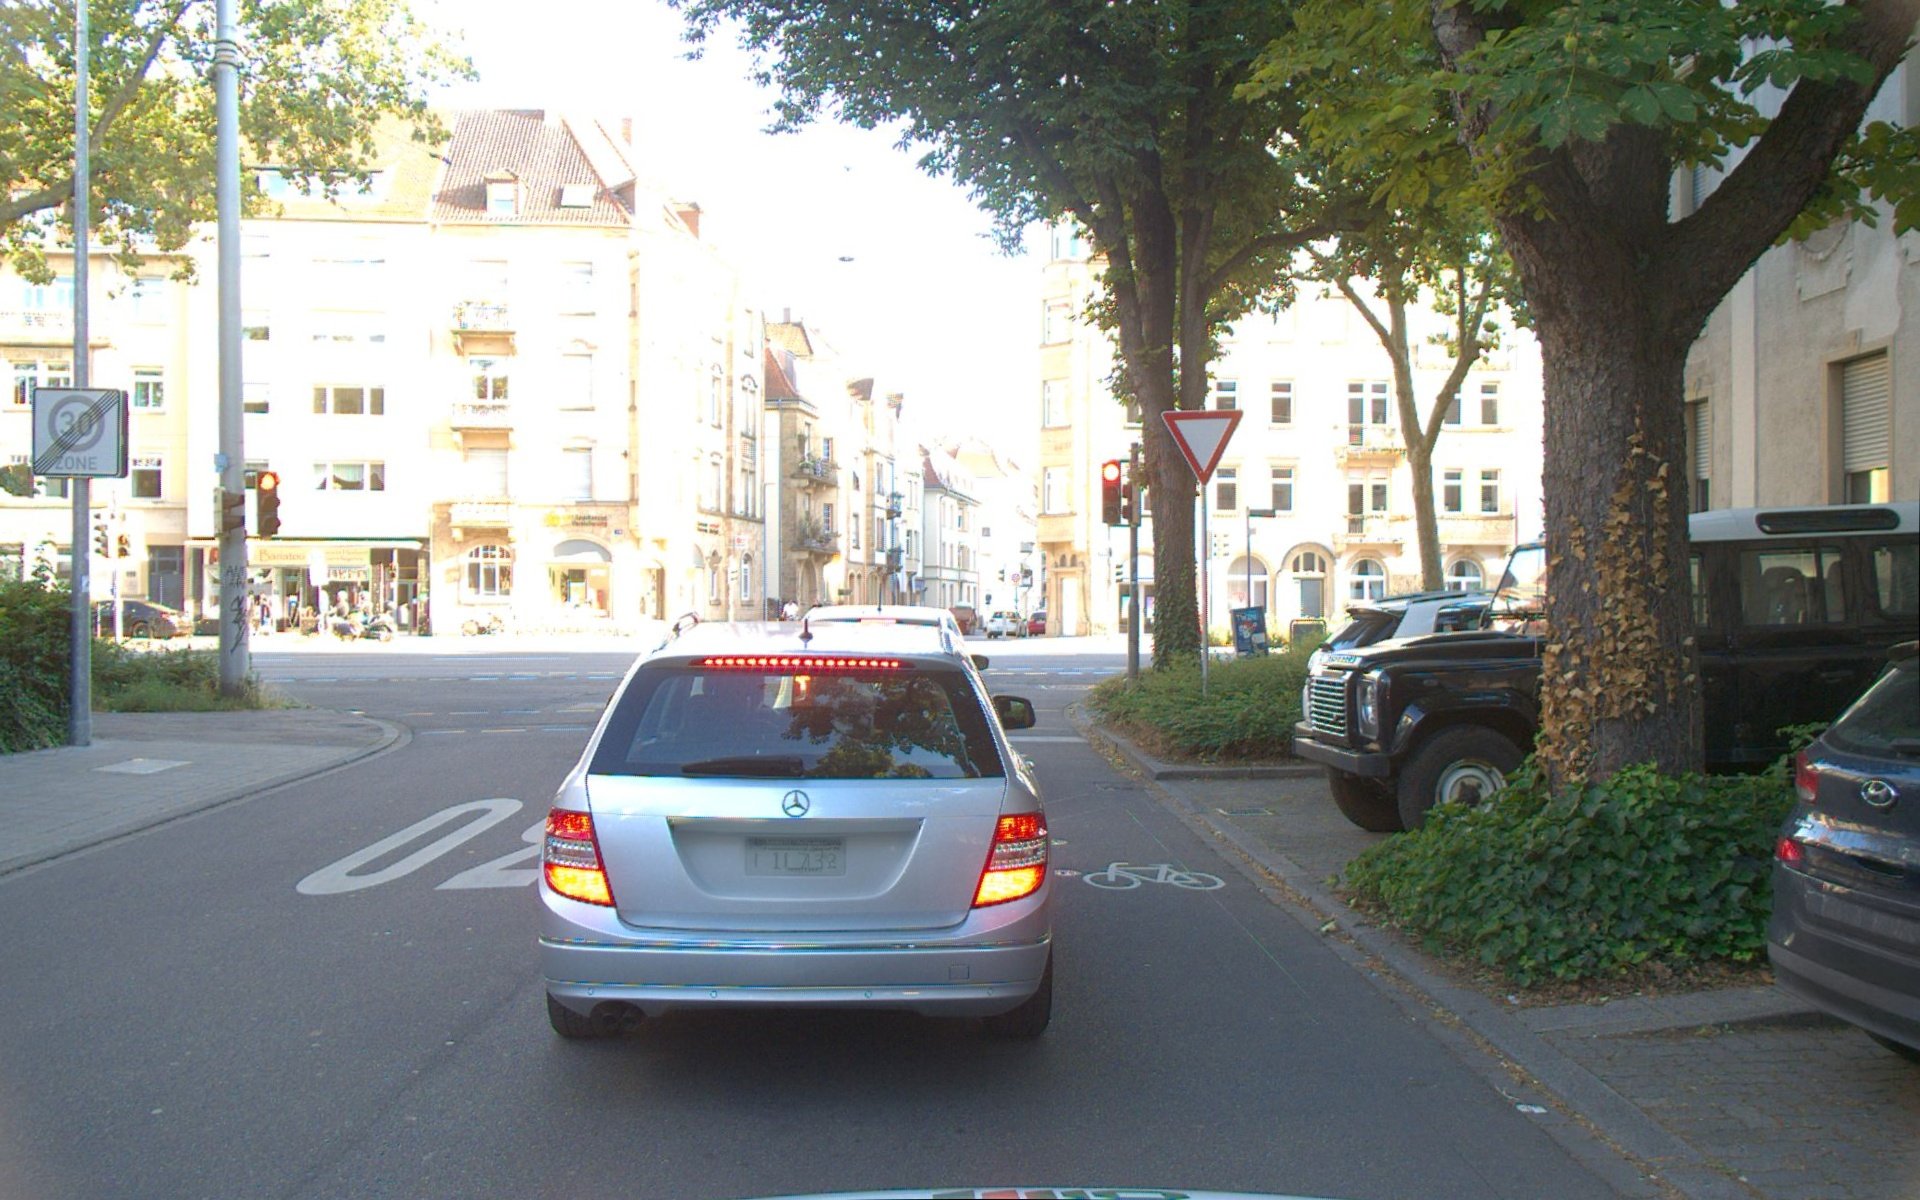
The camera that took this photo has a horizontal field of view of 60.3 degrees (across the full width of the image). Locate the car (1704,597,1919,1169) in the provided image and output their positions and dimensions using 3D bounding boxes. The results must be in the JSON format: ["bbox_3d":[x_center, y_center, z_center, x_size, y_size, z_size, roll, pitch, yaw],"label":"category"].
[{"bbox_3d":[4.282,0.698,4.600,3.650,1.477,1.707,-1,0,-4],"label":"car"}]

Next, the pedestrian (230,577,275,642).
[{"bbox_3d":[-27.721,0.369,64.848,1.320,2.507,1.059,0,0,-5],"label":"pedestrian"}]

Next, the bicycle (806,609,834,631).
[{"bbox_3d":[-6.207,0.879,73.362,0.754,0.950,1.942,1,0,10],"label":"bicycle"}]

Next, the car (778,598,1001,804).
[{"bbox_3d":[-0.593,0.727,14.027,1.587,1.472,4.342,1,0,-2],"label":"car"}]

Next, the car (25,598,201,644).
[{"bbox_3d":[-27.776,0.663,54.350,4.788,1.477,1.857,0,0,-5],"label":"car"}]

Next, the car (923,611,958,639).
[{"bbox_3d":[-1.265,1.623,108.713,1.796,1.692,4.003,0,1,7],"label":"car"}]

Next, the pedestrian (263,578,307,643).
[{"bbox_3d":[-26.259,0.395,64.345,1.320,2.507,1.059,0,0,-5],"label":"pedestrian"}]

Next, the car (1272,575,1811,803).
[{"bbox_3d":[4.508,0.655,13.146,3.650,1.597,1.707,-1,0,-4],"label":"car"}]

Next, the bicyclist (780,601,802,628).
[{"bbox_3d":[-7.486,0.639,73.333,0.754,1.177,0.753,1,0,10],"label":"bicyclist"}]

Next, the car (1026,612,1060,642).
[{"bbox_3d":[5.121,1.642,101.980,1.796,1.775,4.003,0,1,7],"label":"car"}]

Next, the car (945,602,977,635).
[{"bbox_3d":[0.088,1.269,117.328,1.749,2.242,4.003,0,1,7],"label":"car"}]

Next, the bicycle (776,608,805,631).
[{"bbox_3d":[-7.503,0.865,73.255,0.754,0.956,1.942,1,0,10],"label":"bicycle"}]

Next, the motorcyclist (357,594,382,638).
[{"bbox_3d":[-20.066,0.540,56.230,0.668,1.477,0.568,0,0,-5],"label":"motorcyclist"}]

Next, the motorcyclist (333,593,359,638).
[{"bbox_3d":[-20.407,0.518,54.967,0.668,1.477,0.568,0,0,-5],"label":"motorcyclist"}]

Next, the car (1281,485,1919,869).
[{"bbox_3d":[4.367,0.408,10.178,4.377,2.072,1.699,-1,0,-4],"label":"car"}]

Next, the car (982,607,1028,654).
[{"bbox_3d":[2.357,1.543,85.908,1.987,2.319,4.003,0,1,7],"label":"car"}]

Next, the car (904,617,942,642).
[{"bbox_3d":[-2.269,1.814,102.465,1.796,1.427,4.003,0,1,7],"label":"car"}]

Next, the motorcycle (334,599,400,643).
[{"bbox_3d":[-20.153,0.710,56.224,1.993,1.477,0.568,0,0,-5],"label":"motorcycle"}]

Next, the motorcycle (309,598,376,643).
[{"bbox_3d":[-20.517,0.674,54.962,1.993,1.477,0.568,0,0,-5],"label":"motorcycle"}]

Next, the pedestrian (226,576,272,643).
[{"bbox_3d":[-27.119,0.359,63.124,1.320,2.507,1.059,0,0,-5],"label":"pedestrian"}]

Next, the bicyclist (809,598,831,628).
[{"bbox_3d":[-6.205,0.580,73.363,0.754,1.312,0.753,1,0,10],"label":"bicyclist"}]

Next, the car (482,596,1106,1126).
[{"bbox_3d":[-0.553,0.738,6.937,1.741,1.477,4.546,1,0,-2],"label":"car"}]
